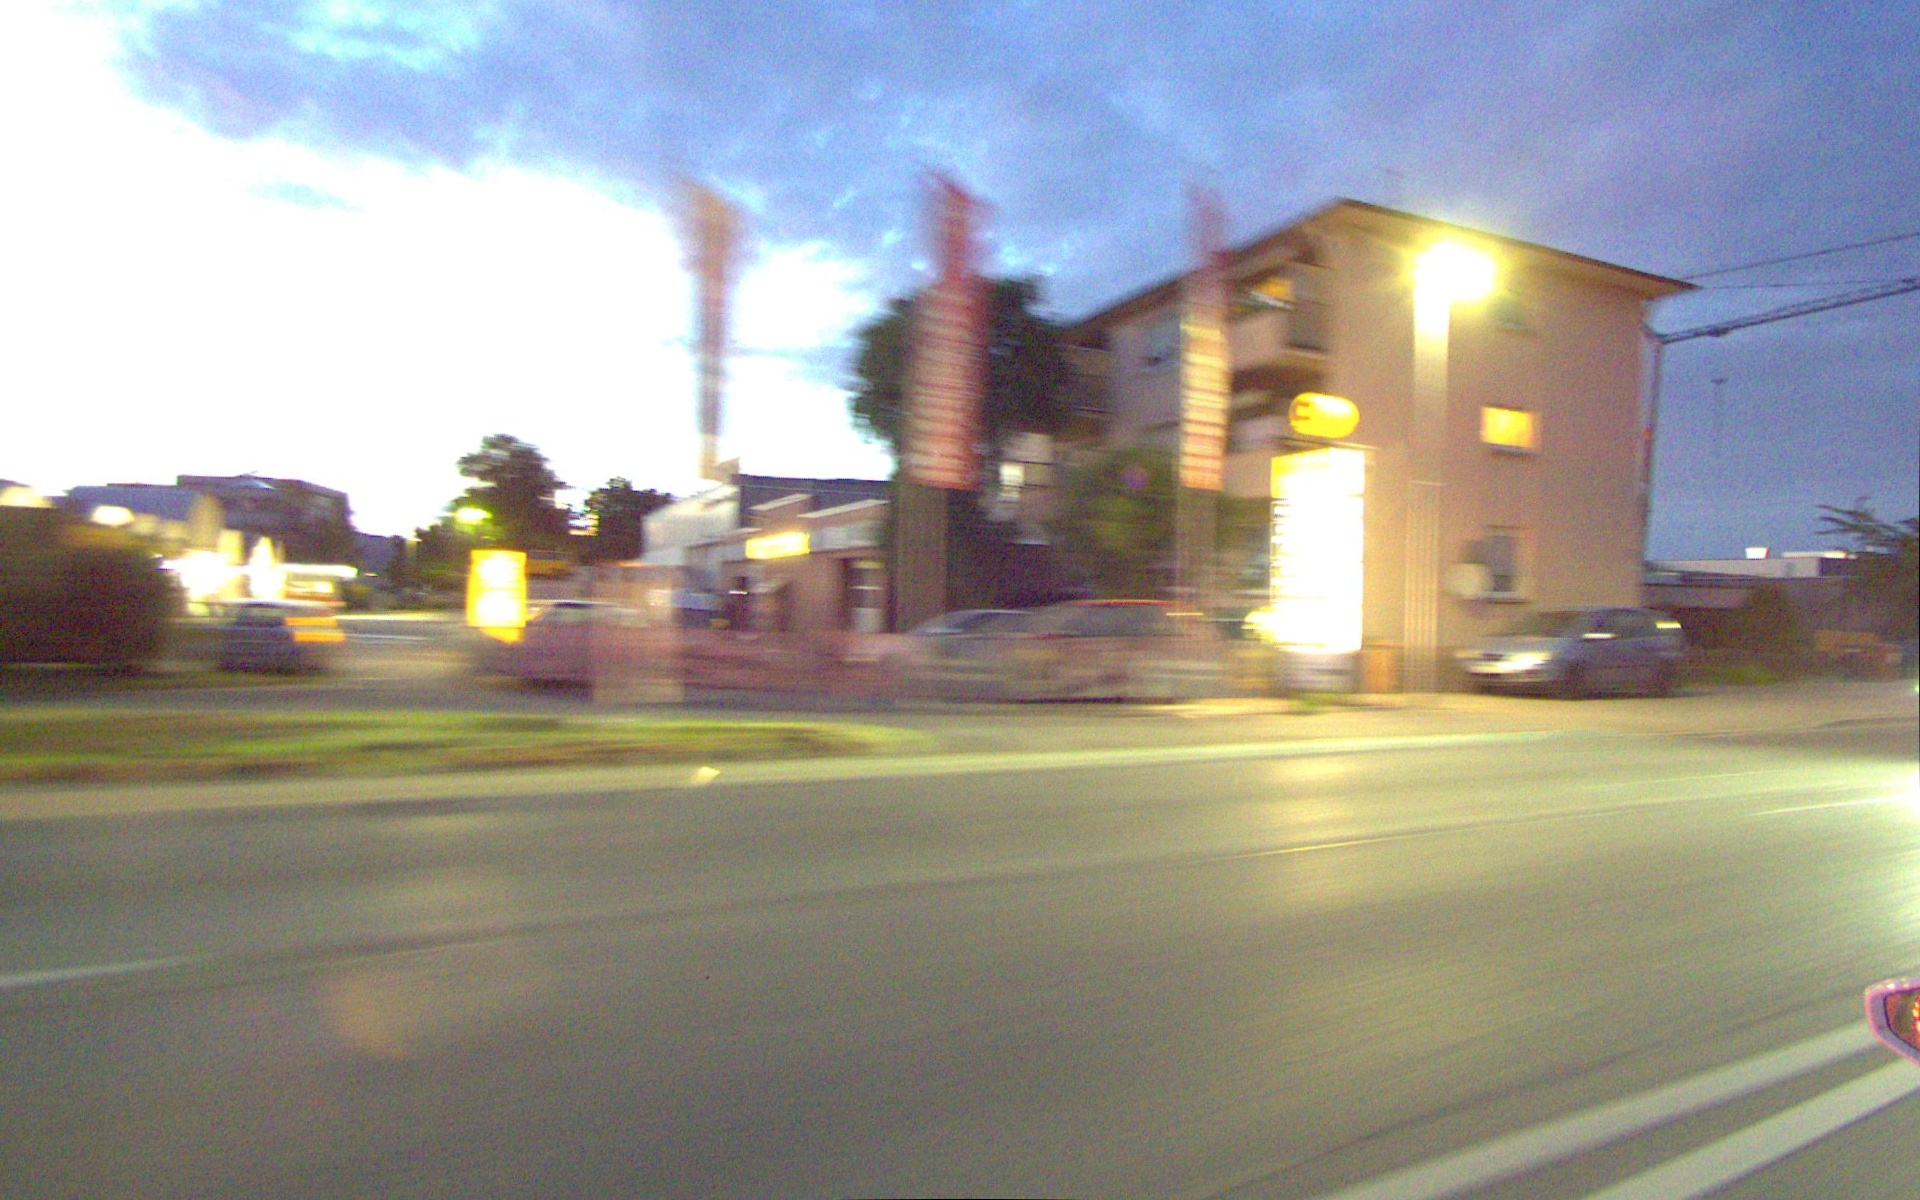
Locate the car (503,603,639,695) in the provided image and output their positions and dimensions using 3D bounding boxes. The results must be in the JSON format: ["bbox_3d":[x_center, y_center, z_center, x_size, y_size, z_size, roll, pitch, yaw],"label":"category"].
[{"bbox_3d":[-6.606,0.809,16.877,1.480,1.377,3.484,3,-3,-32],"label":"car"}]

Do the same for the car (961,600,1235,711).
[{"bbox_3d":[1.924,0.775,14.509,3.631,1.439,1.547,1,0,-8],"label":"car"}]

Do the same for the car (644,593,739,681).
[{"bbox_3d":[-9.612,1.181,35.568,2.179,2.647,5.961,0,2,-26],"label":"car"}]

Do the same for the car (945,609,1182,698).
[{"bbox_3d":[1.657,0.862,16.632,3.631,1.329,1.548,1,0,-7],"label":"car"}]

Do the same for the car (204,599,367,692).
[{"bbox_3d":[-11.847,0.784,17.896,1.873,1.457,3.752,0,-2,-26],"label":"car"}]

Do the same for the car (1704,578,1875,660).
[{"bbox_3d":[22.398,0.454,27.148,3.945,2.041,1.988,0,2,-25],"label":"car"}]

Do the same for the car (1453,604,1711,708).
[{"bbox_3d":[10.972,0.939,17.682,4.392,1.629,1.750,1,0,-25],"label":"car"}]

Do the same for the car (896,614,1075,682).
[{"bbox_3d":[0.442,0.896,18.996,3.154,1.147,1.547,1,0,-8],"label":"car"}]
